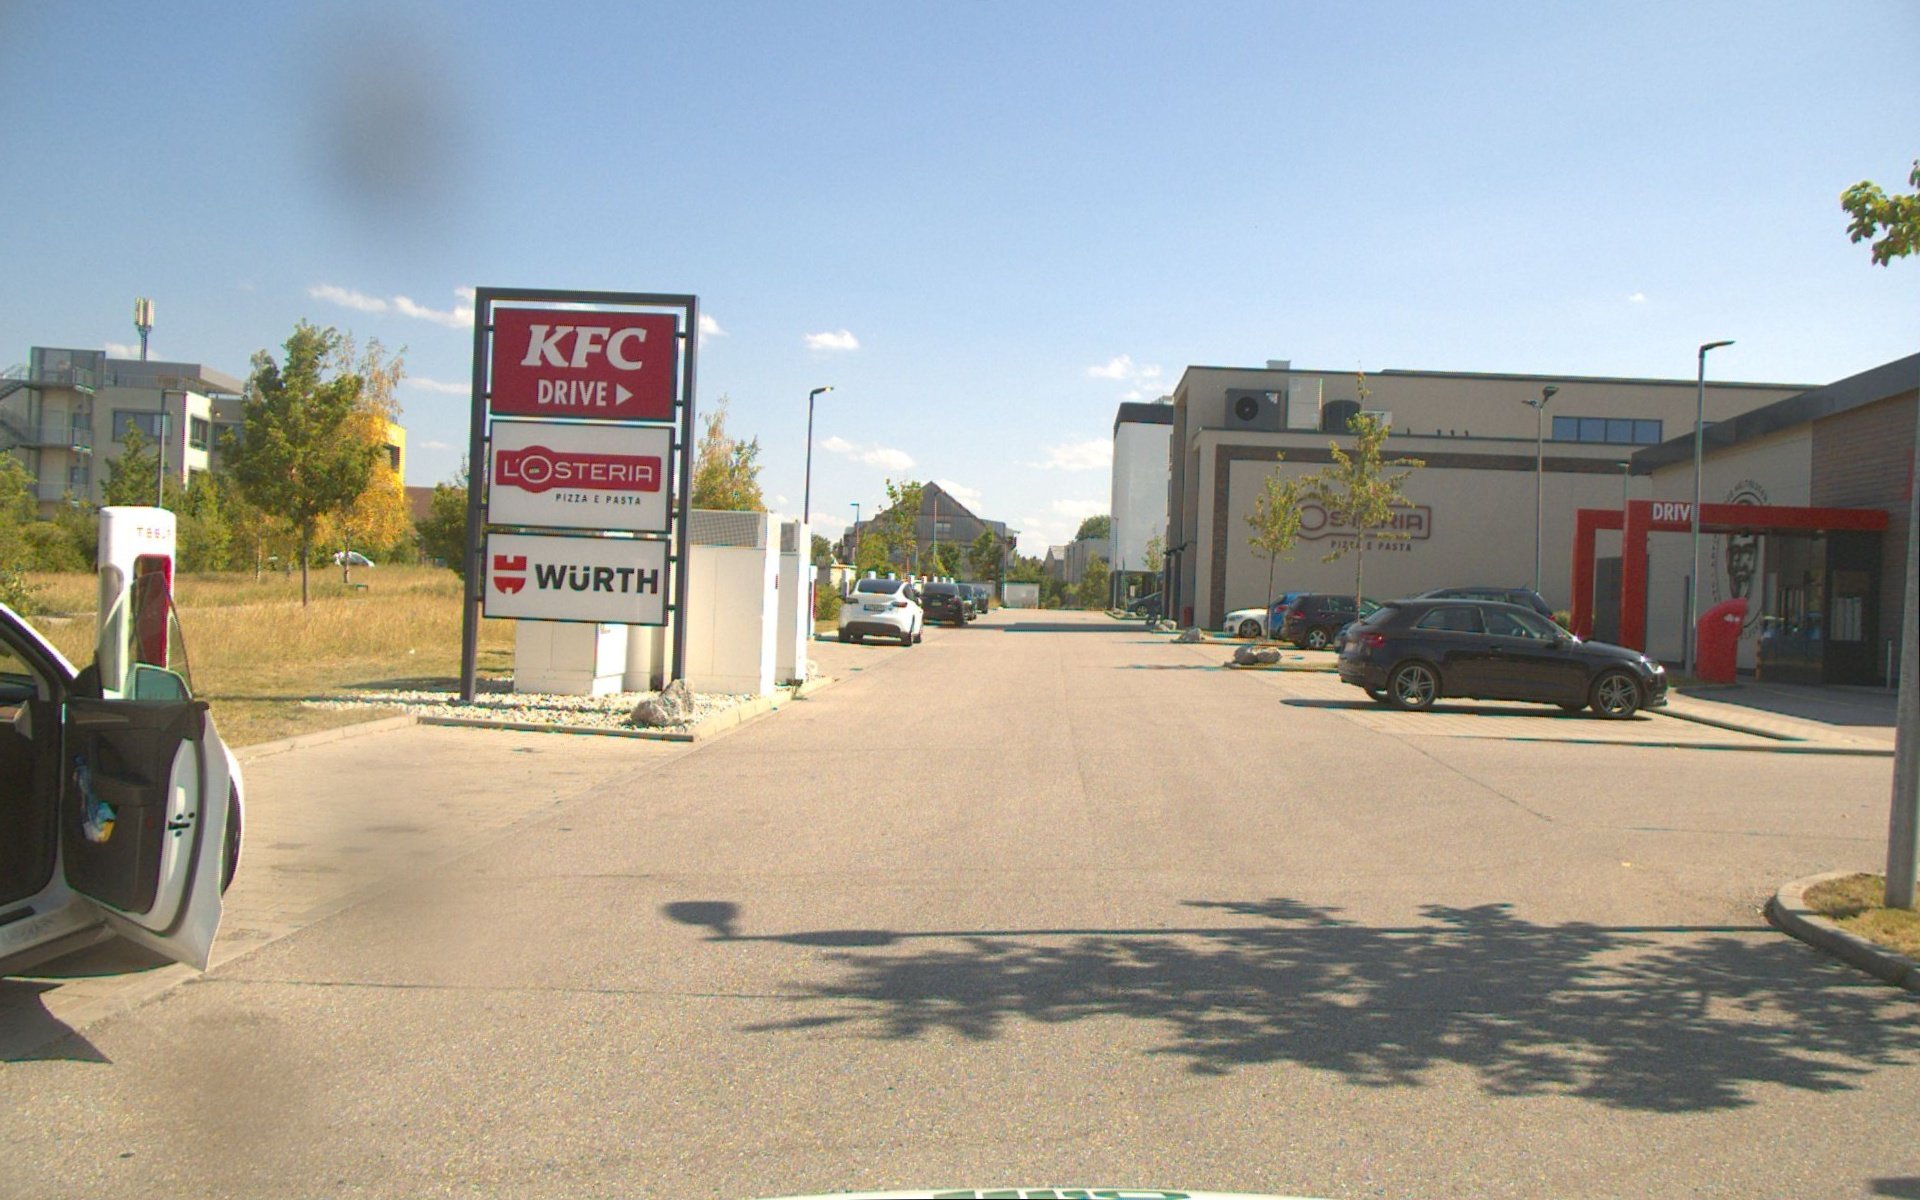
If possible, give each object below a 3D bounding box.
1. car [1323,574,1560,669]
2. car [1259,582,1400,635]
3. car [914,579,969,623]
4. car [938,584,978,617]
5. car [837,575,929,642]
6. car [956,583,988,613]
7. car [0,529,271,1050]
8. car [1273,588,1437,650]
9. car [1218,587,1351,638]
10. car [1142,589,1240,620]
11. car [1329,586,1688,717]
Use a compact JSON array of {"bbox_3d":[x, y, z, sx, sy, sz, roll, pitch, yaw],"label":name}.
[{"bbox_3d":[9.718,0.412,33.576,4.282,1.715,1.641,2,0,-2],"label":"car"},{"bbox_3d":[11.294,0.262,50.681,3.906,1.445,1.651,2,0,-1],"label":"car"},{"bbox_3d":[-0.690,0.036,64.627,1.904,1.595,4.001,2,1,2],"label":"car"},{"bbox_3d":[-0.070,-0.010,76.557,1.707,1.411,4.001,2,1,1],"label":"car"},{"bbox_3d":[-1.969,0.204,43.338,1.904,1.595,4.002,2,1,4],"label":"car"},{"bbox_3d":[0.699,-0.143,93.682,1.707,1.595,4.001,2,1,1],"label":"car"},{"bbox_3d":[-3.880,0.559,4.835,1.826,1.628,4.488,2,0,-1],"label":"car"},{"bbox_3d":[10.369,0.494,43.592,3.906,1.445,1.651,2,0,-1],"label":"car"},{"bbox_3d":[10.419,0.387,53.292,3.906,1.445,1.651,2,0,-1],"label":"car"},{"bbox_3d":[9.758,0.183,70.030,3.904,1.176,2.001,2,1,1],"label":"car"},{"bbox_3d":[7.085,0.641,21.672,4.113,1.466,1.699,2,0,2],"label":"car"}]
